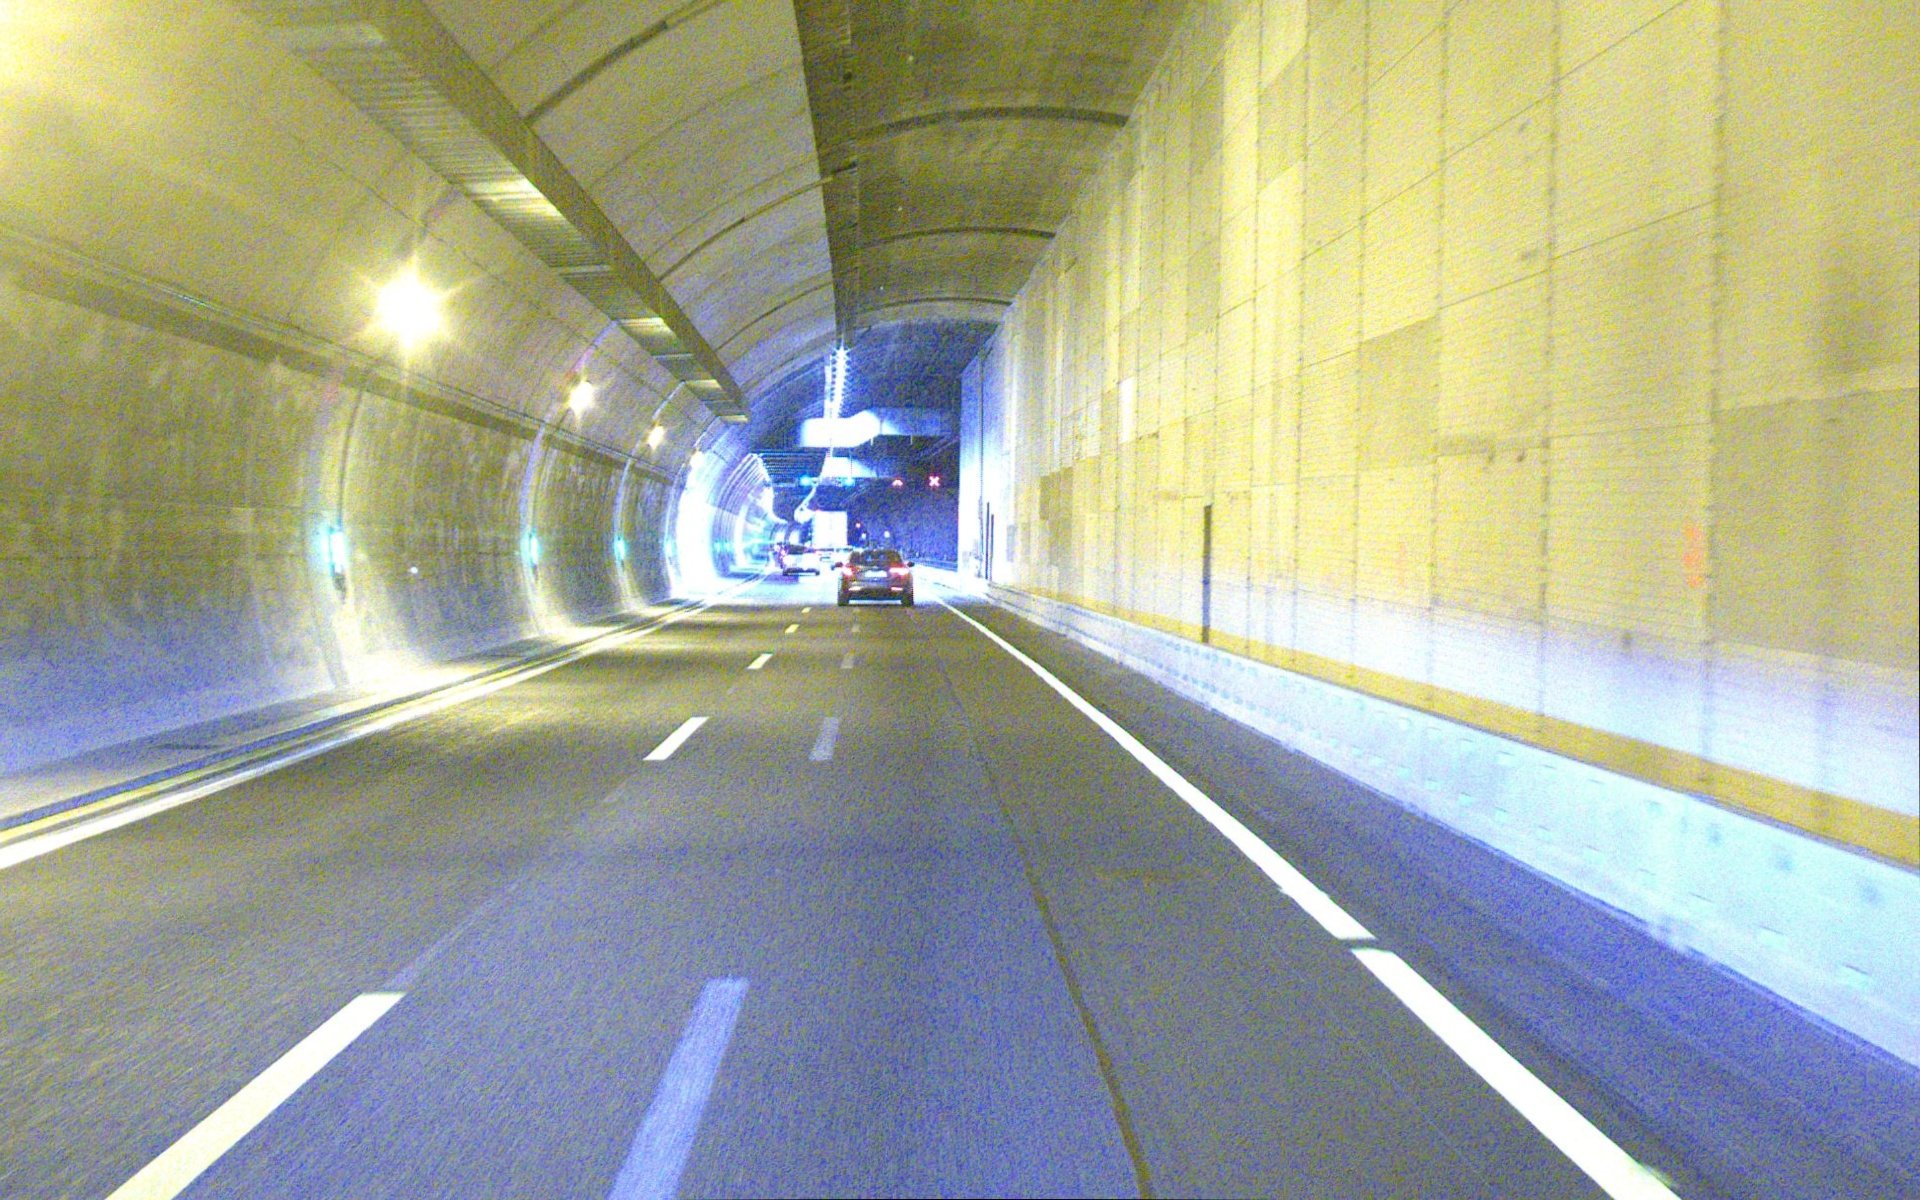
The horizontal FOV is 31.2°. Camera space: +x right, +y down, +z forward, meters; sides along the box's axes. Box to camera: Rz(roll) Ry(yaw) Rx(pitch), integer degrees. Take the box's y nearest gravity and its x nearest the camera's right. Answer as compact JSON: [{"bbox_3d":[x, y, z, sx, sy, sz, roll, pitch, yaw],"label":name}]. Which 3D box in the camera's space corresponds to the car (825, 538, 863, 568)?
[{"bbox_3d":[-6.594,-2.675,196.359,1.930,1.681,4.000,0,1,2],"label":"car"}]

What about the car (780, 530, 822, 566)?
[{"bbox_3d":[-7.635,-2.504,165.333,1.930,1.681,4.000,0,1,-1],"label":"car"}]

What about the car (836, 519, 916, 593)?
[{"bbox_3d":[-2.089,-1.111,85.544,1.946,1.788,4.000,0,1,-2],"label":"car"}]
